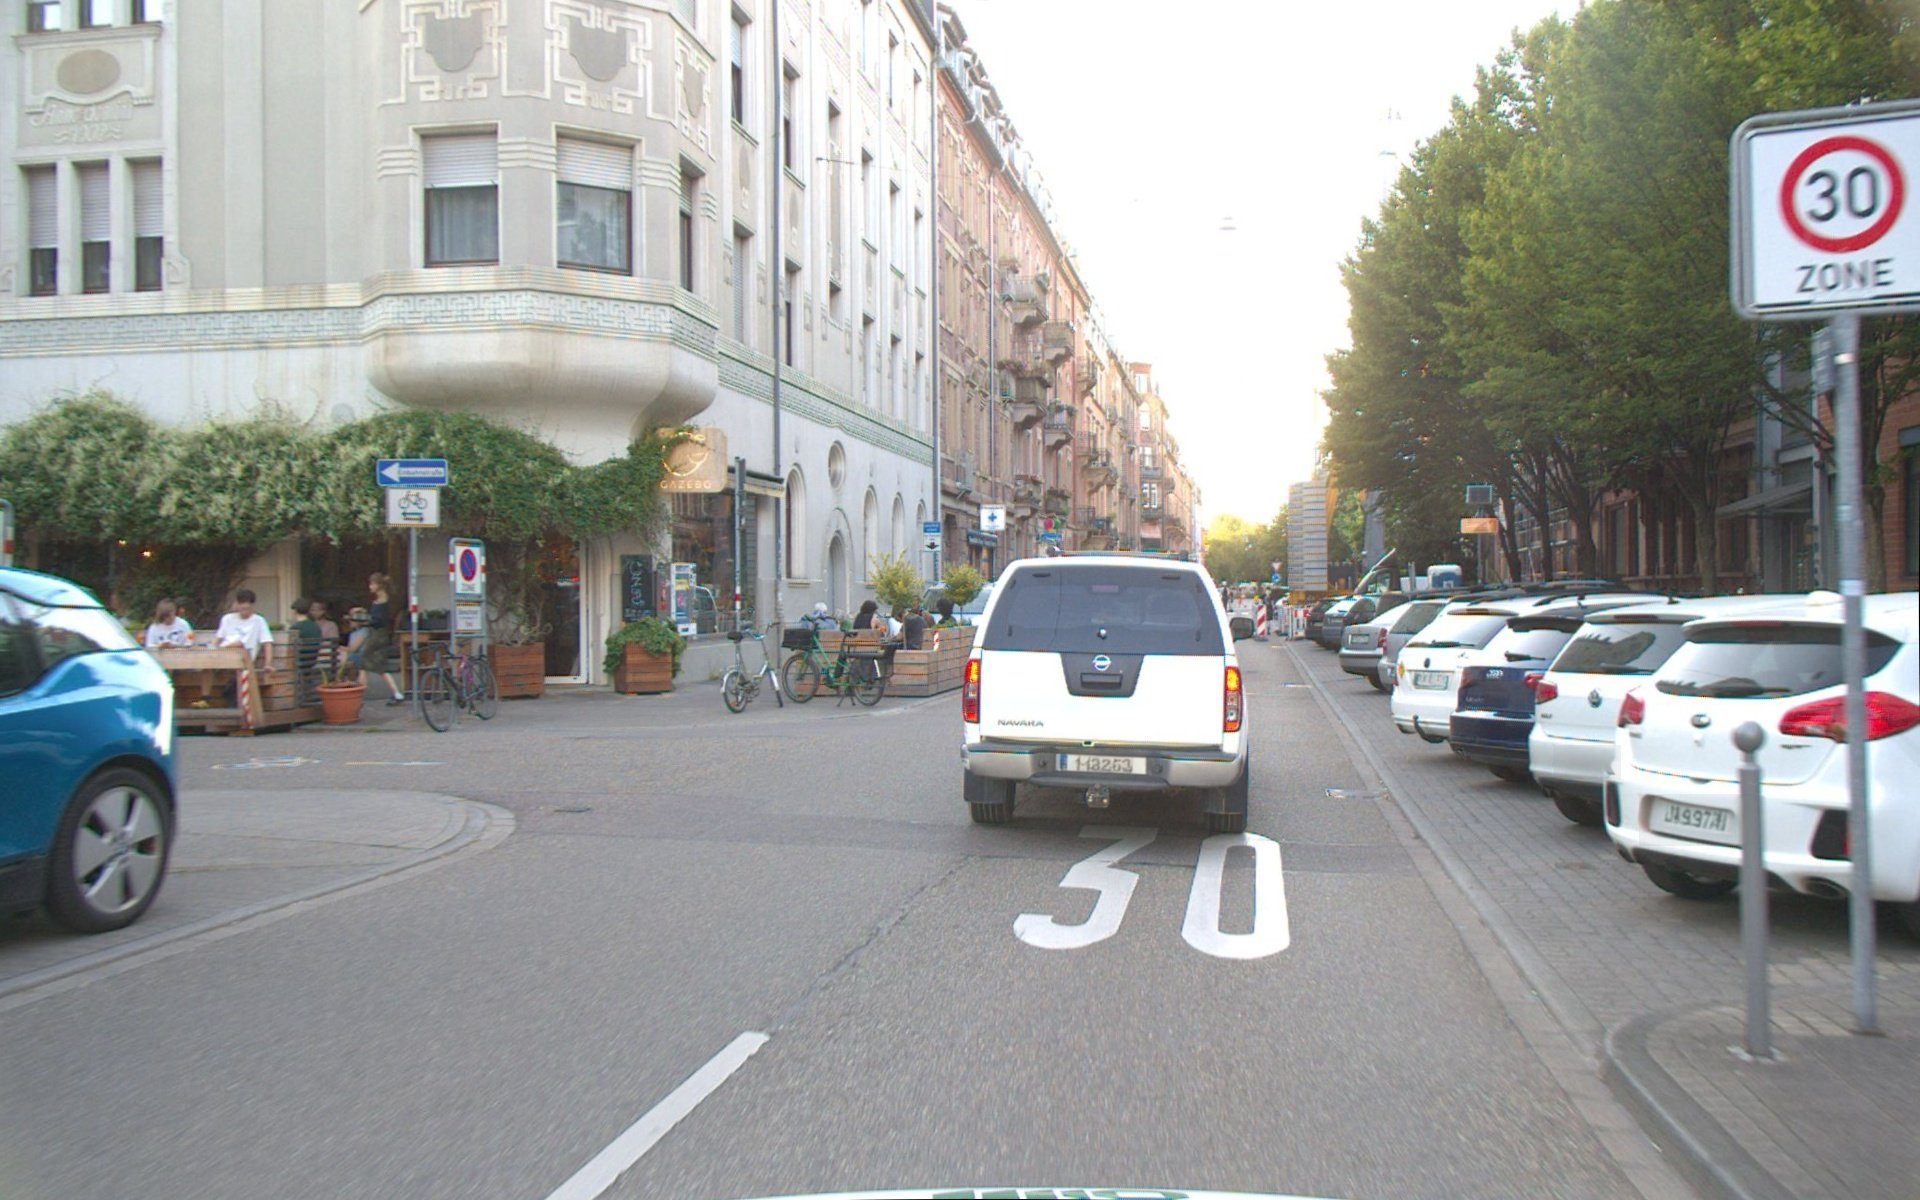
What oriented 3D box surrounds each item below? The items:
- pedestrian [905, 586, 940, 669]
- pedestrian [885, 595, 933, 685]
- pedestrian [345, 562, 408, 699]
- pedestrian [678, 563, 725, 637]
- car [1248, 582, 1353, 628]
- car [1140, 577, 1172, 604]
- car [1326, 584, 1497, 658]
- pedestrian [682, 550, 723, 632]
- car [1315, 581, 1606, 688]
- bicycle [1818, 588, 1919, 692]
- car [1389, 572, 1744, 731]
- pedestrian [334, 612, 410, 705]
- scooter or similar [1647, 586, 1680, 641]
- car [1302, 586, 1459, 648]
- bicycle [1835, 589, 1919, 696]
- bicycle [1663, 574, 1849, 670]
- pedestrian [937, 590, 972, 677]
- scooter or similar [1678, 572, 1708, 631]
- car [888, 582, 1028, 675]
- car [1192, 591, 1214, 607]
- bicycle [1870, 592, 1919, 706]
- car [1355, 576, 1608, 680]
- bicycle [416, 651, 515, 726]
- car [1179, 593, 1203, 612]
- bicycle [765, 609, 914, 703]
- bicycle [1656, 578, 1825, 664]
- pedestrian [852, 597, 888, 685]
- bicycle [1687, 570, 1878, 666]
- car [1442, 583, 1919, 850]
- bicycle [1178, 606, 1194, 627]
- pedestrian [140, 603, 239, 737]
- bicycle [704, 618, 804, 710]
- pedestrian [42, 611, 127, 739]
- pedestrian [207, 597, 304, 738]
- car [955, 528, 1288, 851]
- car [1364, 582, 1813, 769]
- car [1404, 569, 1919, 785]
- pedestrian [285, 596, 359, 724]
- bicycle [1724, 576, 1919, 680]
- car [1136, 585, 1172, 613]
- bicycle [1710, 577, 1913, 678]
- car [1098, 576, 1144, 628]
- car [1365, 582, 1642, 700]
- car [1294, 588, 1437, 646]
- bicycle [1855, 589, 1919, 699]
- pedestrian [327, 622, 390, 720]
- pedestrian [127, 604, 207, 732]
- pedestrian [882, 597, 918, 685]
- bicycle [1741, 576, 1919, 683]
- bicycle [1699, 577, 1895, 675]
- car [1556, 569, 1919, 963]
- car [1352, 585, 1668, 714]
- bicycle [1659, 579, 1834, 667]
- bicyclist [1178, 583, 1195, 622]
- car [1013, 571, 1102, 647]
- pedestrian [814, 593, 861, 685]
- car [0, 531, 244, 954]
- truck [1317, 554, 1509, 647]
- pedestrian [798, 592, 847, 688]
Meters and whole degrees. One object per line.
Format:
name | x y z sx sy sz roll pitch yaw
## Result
pedestrian | -0.619 0.448 27.537 0.506 1.373 0.540 0 0 7
pedestrian | -0.773 0.604 25.244 0.596 1.348 0.771 0 0 9
pedestrian | -7.374 0.377 20.906 0.602 1.704 0.568 0 0 -3
pedestrian | -4.186 -0.004 26.790 0.545 1.174 0.748 0 0 9
car | 13.894 0.192 67.435 4.106 1.811 1.821 0 0 16
car | 11.796 -0.579 99.355 1.673 1.557 4.004 0 0 10
car | 10.267 0.451 37.639 3.348 1.500 1.764 -2 1 -21
pedestrian | -4.336 -0.149 27.885 0.527 1.373 0.519 0 0 11
car | 7.994 0.504 26.408 4.314 1.561 1.794 -1 0 -23
bicycle | 11.348 0.456 19.105 2.480 1.187 0.562 -1 0 13
car | 6.777 0.517 18.506 3.545 1.608 1.704 -1 0 -23
pedestrian | -8.035 0.791 22.620 0.676 1.235 0.779 -1 0 11
scooter or similar | 16.589 0.313 39.004 0.362 1.239 1.615 -4 -1 33
car | 11.100 0.430 43.673 3.776 1.462 1.749 -2 1 -25
bicycle | 11.229 0.464 18.505 2.480 1.187 0.562 -1 0 13
bicycle | 12.629 0.351 26.312 2.481 1.266 0.600 -6 -1 13
pedestrian | -0.086 0.530 26.584 0.473 1.373 0.669 0 0 9
scooter or similar | 16.009 0.017 36.144 0.403 1.239 1.775 -5 -1 21
car | 0.044 0.487 31.115 1.951 1.619 4.318 -1 0 9
car | 23.715 -0.106 161.393 1.807 1.579 4.359 0 0 13
bicycle | 11.002 0.501 17.348 2.480 1.187 0.562 -1 0 13
car | 9.211 0.473 29.340 3.914 1.665 1.755 -2 0 -10
bicycle | -5.758 1.018 19.348 0.414 0.707 1.781 0 2 7
car | 20.392 0.213 145.939 1.807 1.579 4.359 0 0 12
bicycle | -1.572 0.702 21.328 2.074 1.114 0.499 1 2 35
bicycle | 13.030 0.352 27.675 2.480 1.403 0.600 -1 0 13
pedestrian | -1.433 0.645 26.378 0.458 1.373 0.611 0 0 9
bicycle | 12.355 0.274 24.906 2.480 1.403 0.600 -1 0 13
car | 5.420 0.670 11.066 3.933 1.499 1.862 -1 -1 -23
bicycle | 11.047 0.789 80.769 0.783 0.963 2.006 0 0 8
pedestrian | -8.783 0.785 18.866 0.687 1.495 0.784 -1 0 9
bicycle | -2.539 0.772 20.535 0.415 1.030 1.718 0 2 23
pedestrian | -10.005 0.847 18.917 0.559 1.436 0.645 -1 0 10
pedestrian | -8.018 0.754 18.842 0.687 1.567 0.784 -1 0 9
car | 1.182 0.471 11.925 1.892 1.825 4.625 1 1 6
car | 5.967 0.638 15.729 3.929 1.564 1.626 -1 1 -21
car | 5.821 0.569 13.607 3.929 1.549 1.699 -1 -1 -21
pedestrian | -7.616 0.709 19.767 0.559 1.495 0.645 -1 0 8
bicycle | 11.937 0.390 22.781 2.480 1.403 0.600 -1 0 13
car | 11.001 -0.053 93.625 1.753 1.557 4.004 0 0 10
bicycle | 12.085 0.386 23.543 2.480 1.403 0.600 -1 0 13
car | 6.351 0.063 65.020 1.526 1.954 3.859 2 0 9
car | 7.762 0.551 23.670 3.538 1.561 1.555 -1 0 -18
car | 11.339 0.461 46.158 3.839 1.557 1.622 0 0 -30
bicycle | 11.158 0.462 17.931 2.480 1.187 0.562 -1 0 13
pedestrian | -7.789 0.911 21.421 0.519 1.235 0.607 -1 0 10
pedestrian | -9.348 0.792 19.519 0.559 1.468 0.645 -1 0 11
pedestrian | -0.953 0.644 26.240 0.458 1.373 0.611 0 0 9
bicycle | 11.839 0.393 22.073 2.480 1.403 0.600 -1 0 13
bicycle | 12.236 0.387 24.240 2.480 1.403 0.600 -1 0 13
car | 5.056 0.621 7.932 3.927 1.533 1.760 -1 0 -20
car | 7.047 0.592 21.259 3.537 1.508 1.714 -1 0 -18
bicycle | 12.787 0.370 26.950 2.480 1.403 0.600 -1 0 13
bicyclist | 11.042 0.119 80.708 0.783 1.882 0.944 0 0 8
car | 2.756 0.214 45.779 1.864 1.959 4.951 0 0 10
pedestrian | -1.814 0.566 24.600 0.525 1.348 0.705 0 0 11
car | -4.488 0.538 5.796 1.605 1.583 4.007 0 0 12
truck | 15.394 0.029 56.531 6.185 3.029 2.266 0 -3 12
pedestrian | -1.973 0.566 23.785 0.525 1.348 0.705 0 0 11
